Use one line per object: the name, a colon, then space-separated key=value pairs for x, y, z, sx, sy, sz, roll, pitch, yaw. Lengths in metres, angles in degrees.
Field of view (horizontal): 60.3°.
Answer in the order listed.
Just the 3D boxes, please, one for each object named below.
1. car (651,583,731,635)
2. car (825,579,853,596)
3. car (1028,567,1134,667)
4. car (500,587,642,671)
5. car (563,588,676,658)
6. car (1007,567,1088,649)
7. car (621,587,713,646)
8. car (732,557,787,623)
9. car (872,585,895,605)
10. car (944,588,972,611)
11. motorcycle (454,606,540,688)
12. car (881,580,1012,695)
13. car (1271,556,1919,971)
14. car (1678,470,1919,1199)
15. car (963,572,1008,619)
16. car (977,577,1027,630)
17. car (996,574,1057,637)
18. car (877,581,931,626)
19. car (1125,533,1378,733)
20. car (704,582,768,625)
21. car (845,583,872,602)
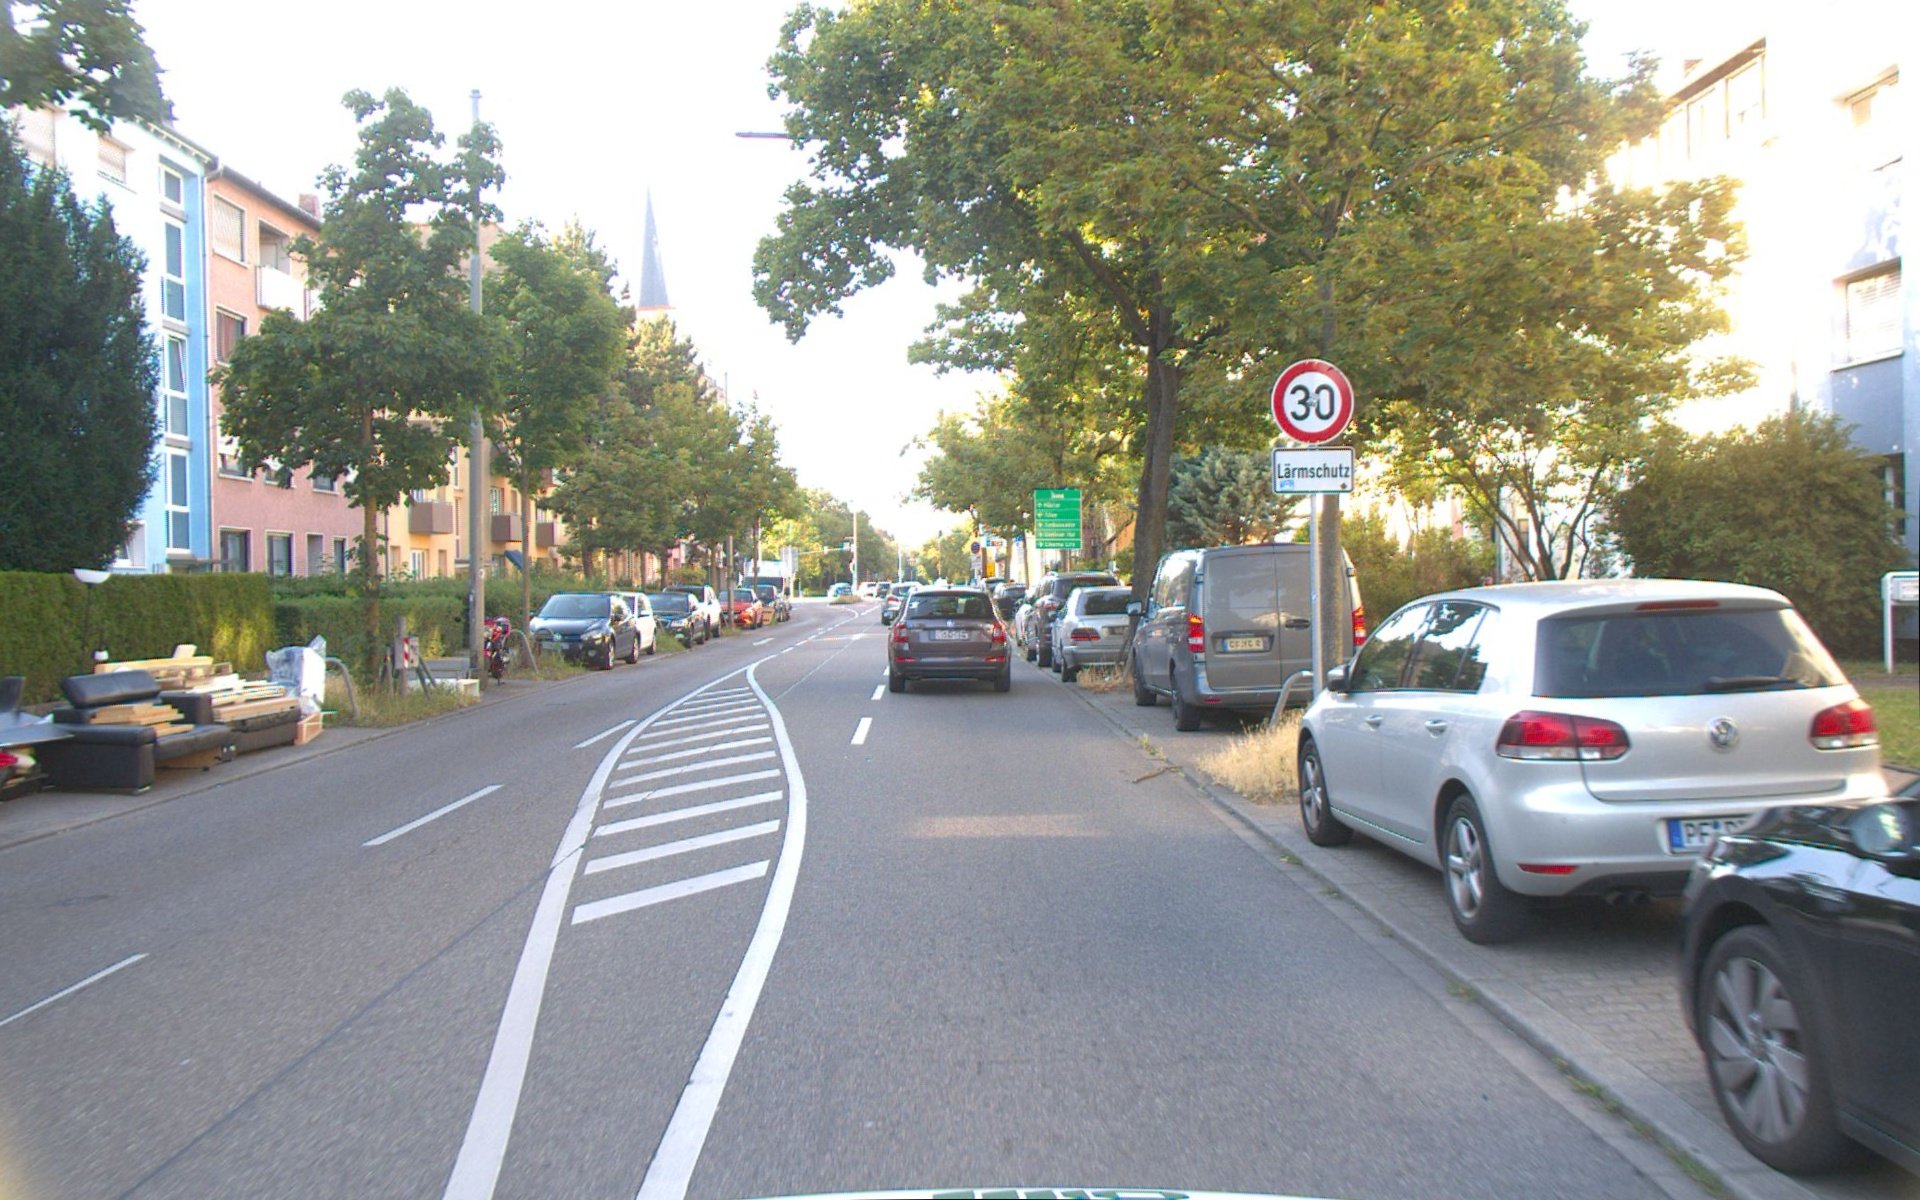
car: x=-8.200 y=0.242 z=50.779 sx=1.744 sy=1.506 sz=3.971 roll=1 pitch=1 yaw=1
car: x=-13.047 y=-1.341 z=178.077 sx=1.964 sy=1.780 sz=3.978 roll=-1 pitch=1 yaw=-19
car: x=2.224 y=0.275 z=31.345 sx=1.718 sy=1.745 sz=4.000 roll=1 pitch=1 yaw=0
car: x=-7.511 y=0.514 z=32.296 sx=1.744 sy=1.506 sz=4.033 roll=1 pitch=1 yaw=1
car: x=-7.883 y=0.500 z=38.649 sx=1.744 sy=1.506 sz=3.971 roll=1 pitch=1 yaw=1
car: x=2.033 y=0.151 z=39.354 sx=1.718 sy=1.837 sz=4.000 roll=1 pitch=1 yaw=0
car: x=-7.928 y=0.406 z=45.088 sx=1.744 sy=1.506 sz=3.971 roll=1 pitch=1 yaw=1
car: x=-8.886 y=-0.469 z=73.796 sx=1.951 sy=2.829 sz=5.502 roll=1 pitch=1 yaw=-2
car: x=-7.292 y=-0.504 z=157.124 sx=1.955 sy=1.780 sz=3.995 roll=-1 pitch=1 yaw=-7
car: x=-0.176 y=-0.063 z=121.614 sx=1.613 sy=1.626 sz=3.645 roll=-1 pitch=1 yaw=-7
motorcycle: x=-7.427 y=0.723 z=26.621 sx=0.724 sy=1.225 sz=2.142 roll=1 pitch=1 yaw=2
car: x=-0.168 y=0.472 z=23.958 sx=1.718 sy=1.518 sz=4.000 roll=1 pitch=1 yaw=0
car: x=2.914 y=0.624 z=8.420 sx=1.719 sy=1.584 sz=4.102 roll=1 pitch=0 yaw=-3
car: x=3.019 y=0.585 z=2.862 sx=1.718 sy=1.716 sz=4.252 roll=1 pitch=1 yaw=0
car: x=1.010 y=-0.191 z=67.568 sx=1.718 sy=1.837 sz=3.999 roll=1 pitch=1 yaw=-1
car: x=1.543 y=0.107 z=62.055 sx=1.718 sy=1.837 sz=4.000 roll=-3 pitch=1 yaw=0
car: x=1.992 y=0.141 z=50.657 sx=1.718 sy=1.837 sz=4.000 roll=1 pitch=1 yaw=0
car: x=-2.063 y=0.143 z=60.961 sx=1.854 sy=1.532 sz=3.788 roll=3 pitch=0 yaw=-2
car: x=3.082 y=0.281 z=18.714 sx=1.877 sy=1.892 sz=5.633 roll=-1 pitch=1 yaw=0
car: x=-8.265 y=0.102 z=61.249 sx=1.744 sy=1.506 sz=3.971 roll=1 pitch=1 yaw=1
car: x=-10.204 y=-0.743 z=165.873 sx=1.960 sy=1.780 sz=3.984 roll=-1 pitch=1 yaw=-15
